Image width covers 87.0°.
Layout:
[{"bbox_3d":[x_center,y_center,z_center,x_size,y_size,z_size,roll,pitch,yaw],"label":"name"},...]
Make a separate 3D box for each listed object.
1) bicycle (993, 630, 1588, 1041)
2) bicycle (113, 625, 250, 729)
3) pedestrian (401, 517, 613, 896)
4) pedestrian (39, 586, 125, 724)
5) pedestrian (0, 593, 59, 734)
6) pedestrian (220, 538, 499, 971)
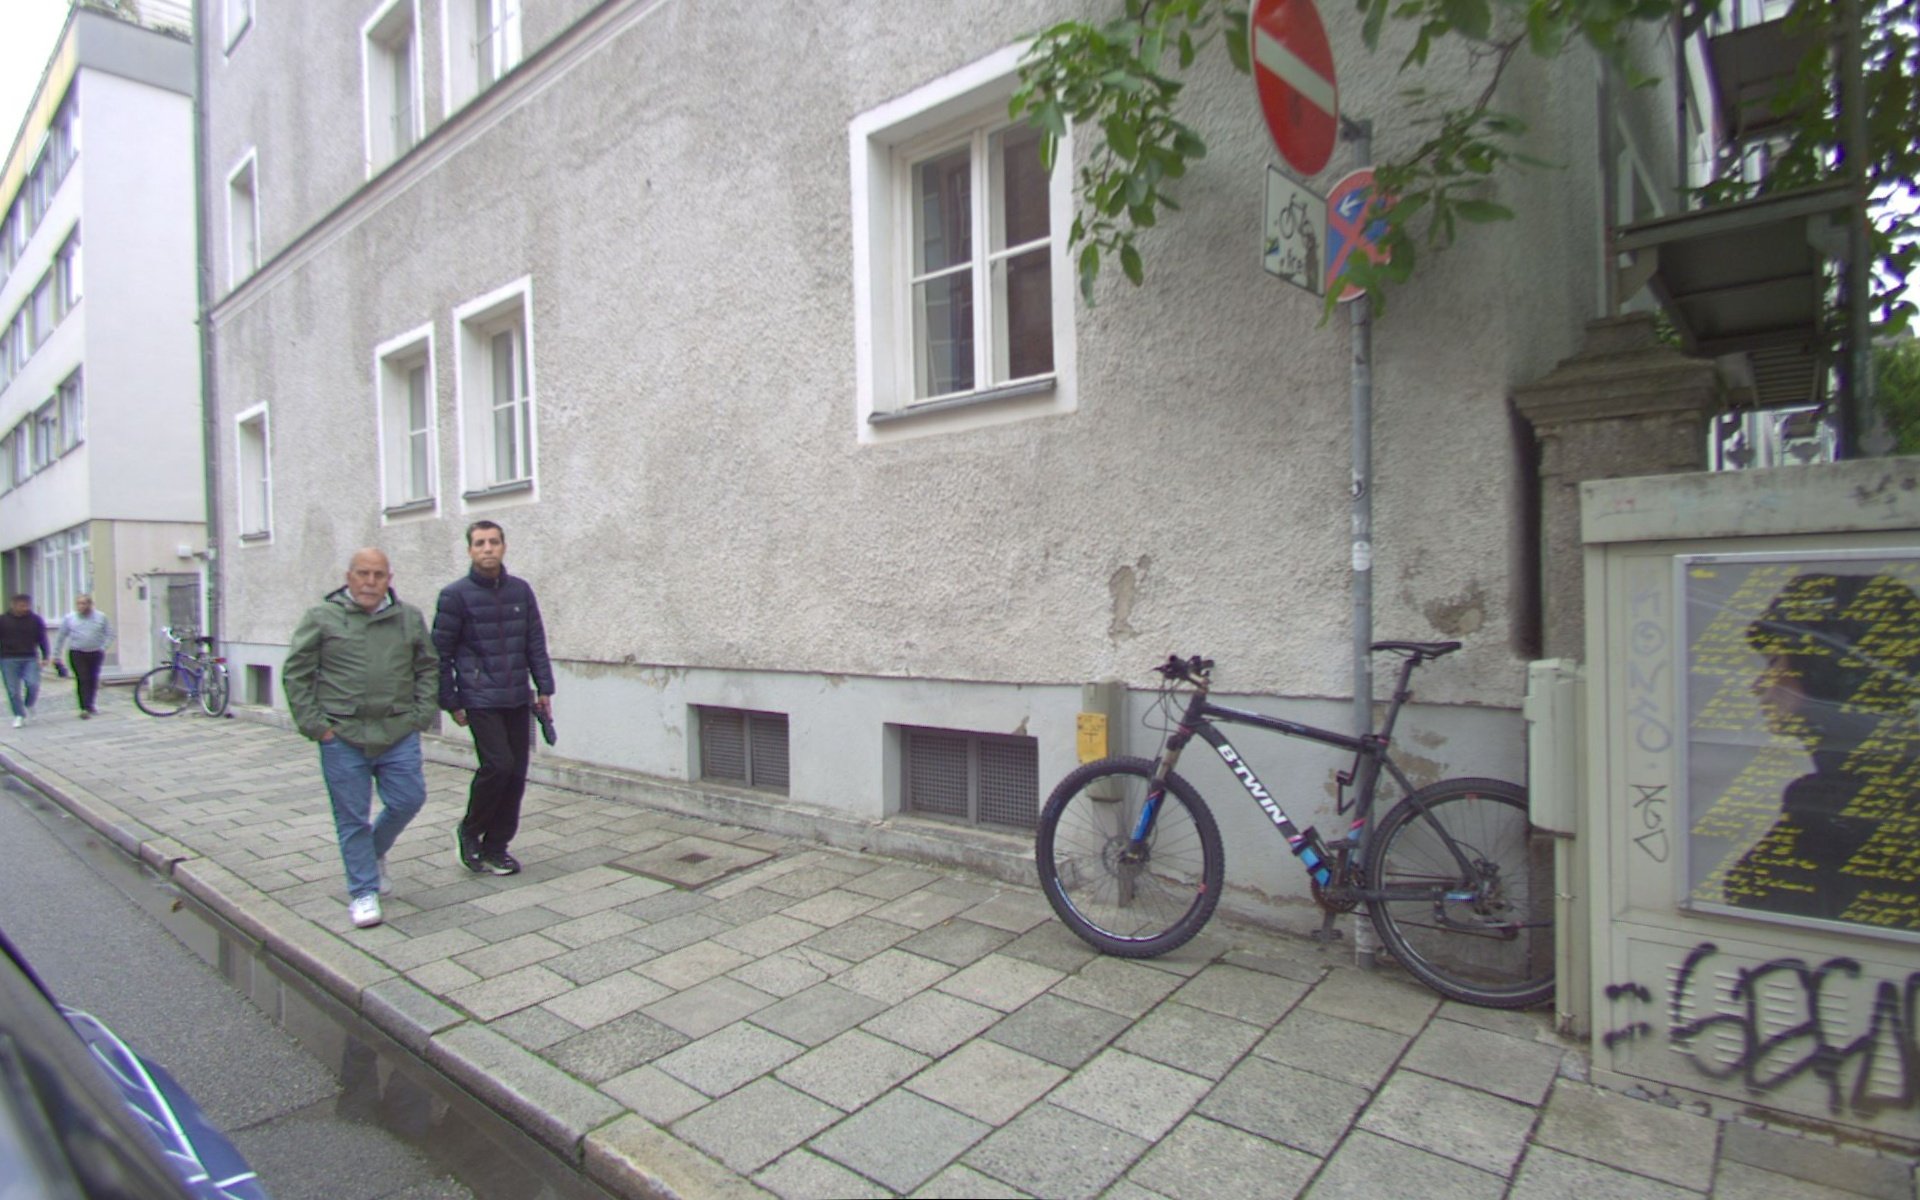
[{"bbox_3d":[1.019,0.677,3.373,1.749,1.119,0.470,-1,0,24],"label":"bicycle"},{"bbox_3d":[-9.801,0.934,12.741,1.653,1.227,0.638,0,0,22],"label":"bicycle"},{"bbox_3d":[-2.279,0.475,5.086,0.823,1.726,0.606,-1,2,40],"label":"pedestrian"},{"bbox_3d":[-12.177,0.732,14.033,0.916,1.810,0.711,-1,2,41],"label":"pedestrian"},{"bbox_3d":[-12.513,0.821,13.391,0.837,1.778,0.711,-1,2,41],"label":"pedestrian"},{"bbox_3d":[-2.654,0.584,4.475,0.906,1.671,0.745,-1,2,41],"label":"pedestrian"}]
